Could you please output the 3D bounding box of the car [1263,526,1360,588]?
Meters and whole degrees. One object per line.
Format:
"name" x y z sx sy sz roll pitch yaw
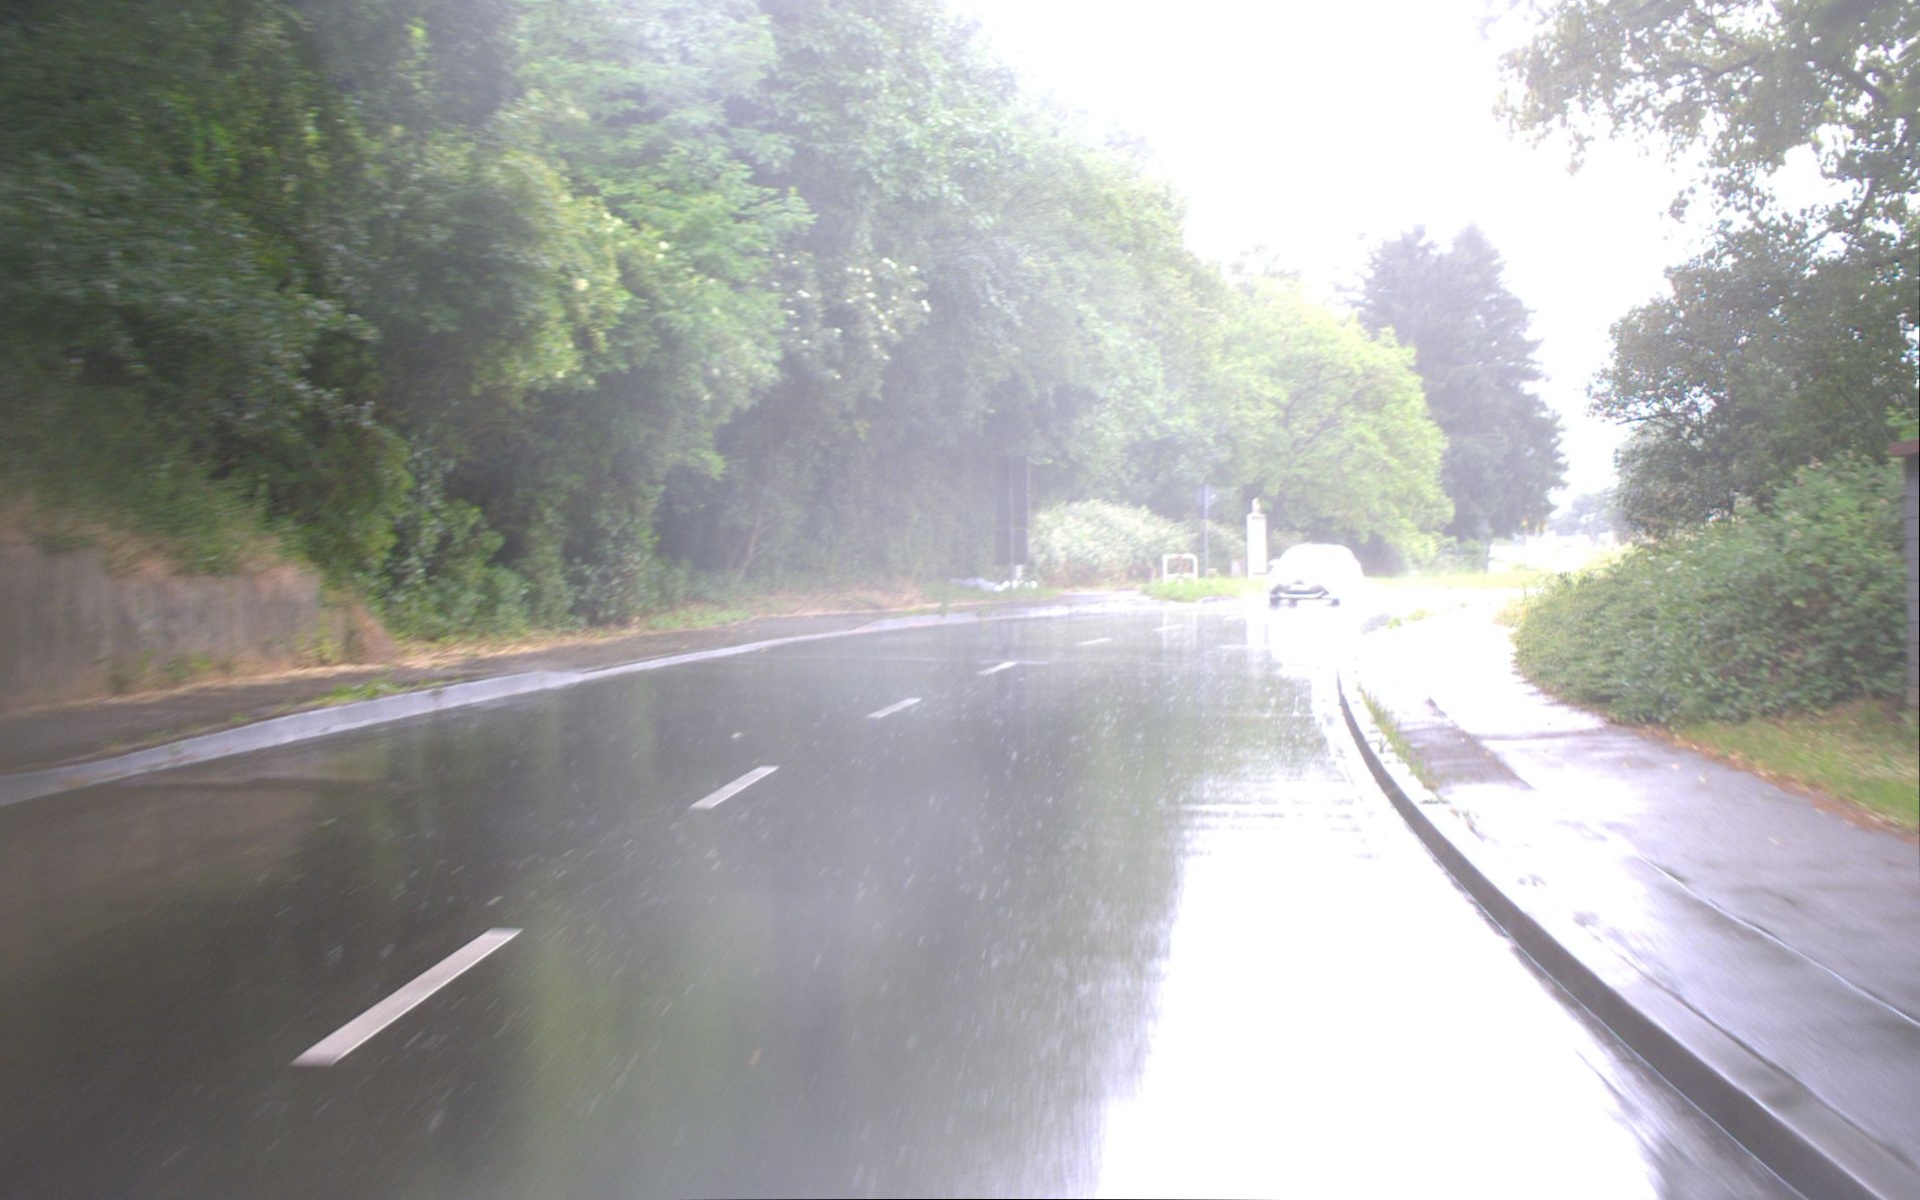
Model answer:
"car" 8.589 -1.069 83.715 1.787 1.414 4.631 1 2 13
